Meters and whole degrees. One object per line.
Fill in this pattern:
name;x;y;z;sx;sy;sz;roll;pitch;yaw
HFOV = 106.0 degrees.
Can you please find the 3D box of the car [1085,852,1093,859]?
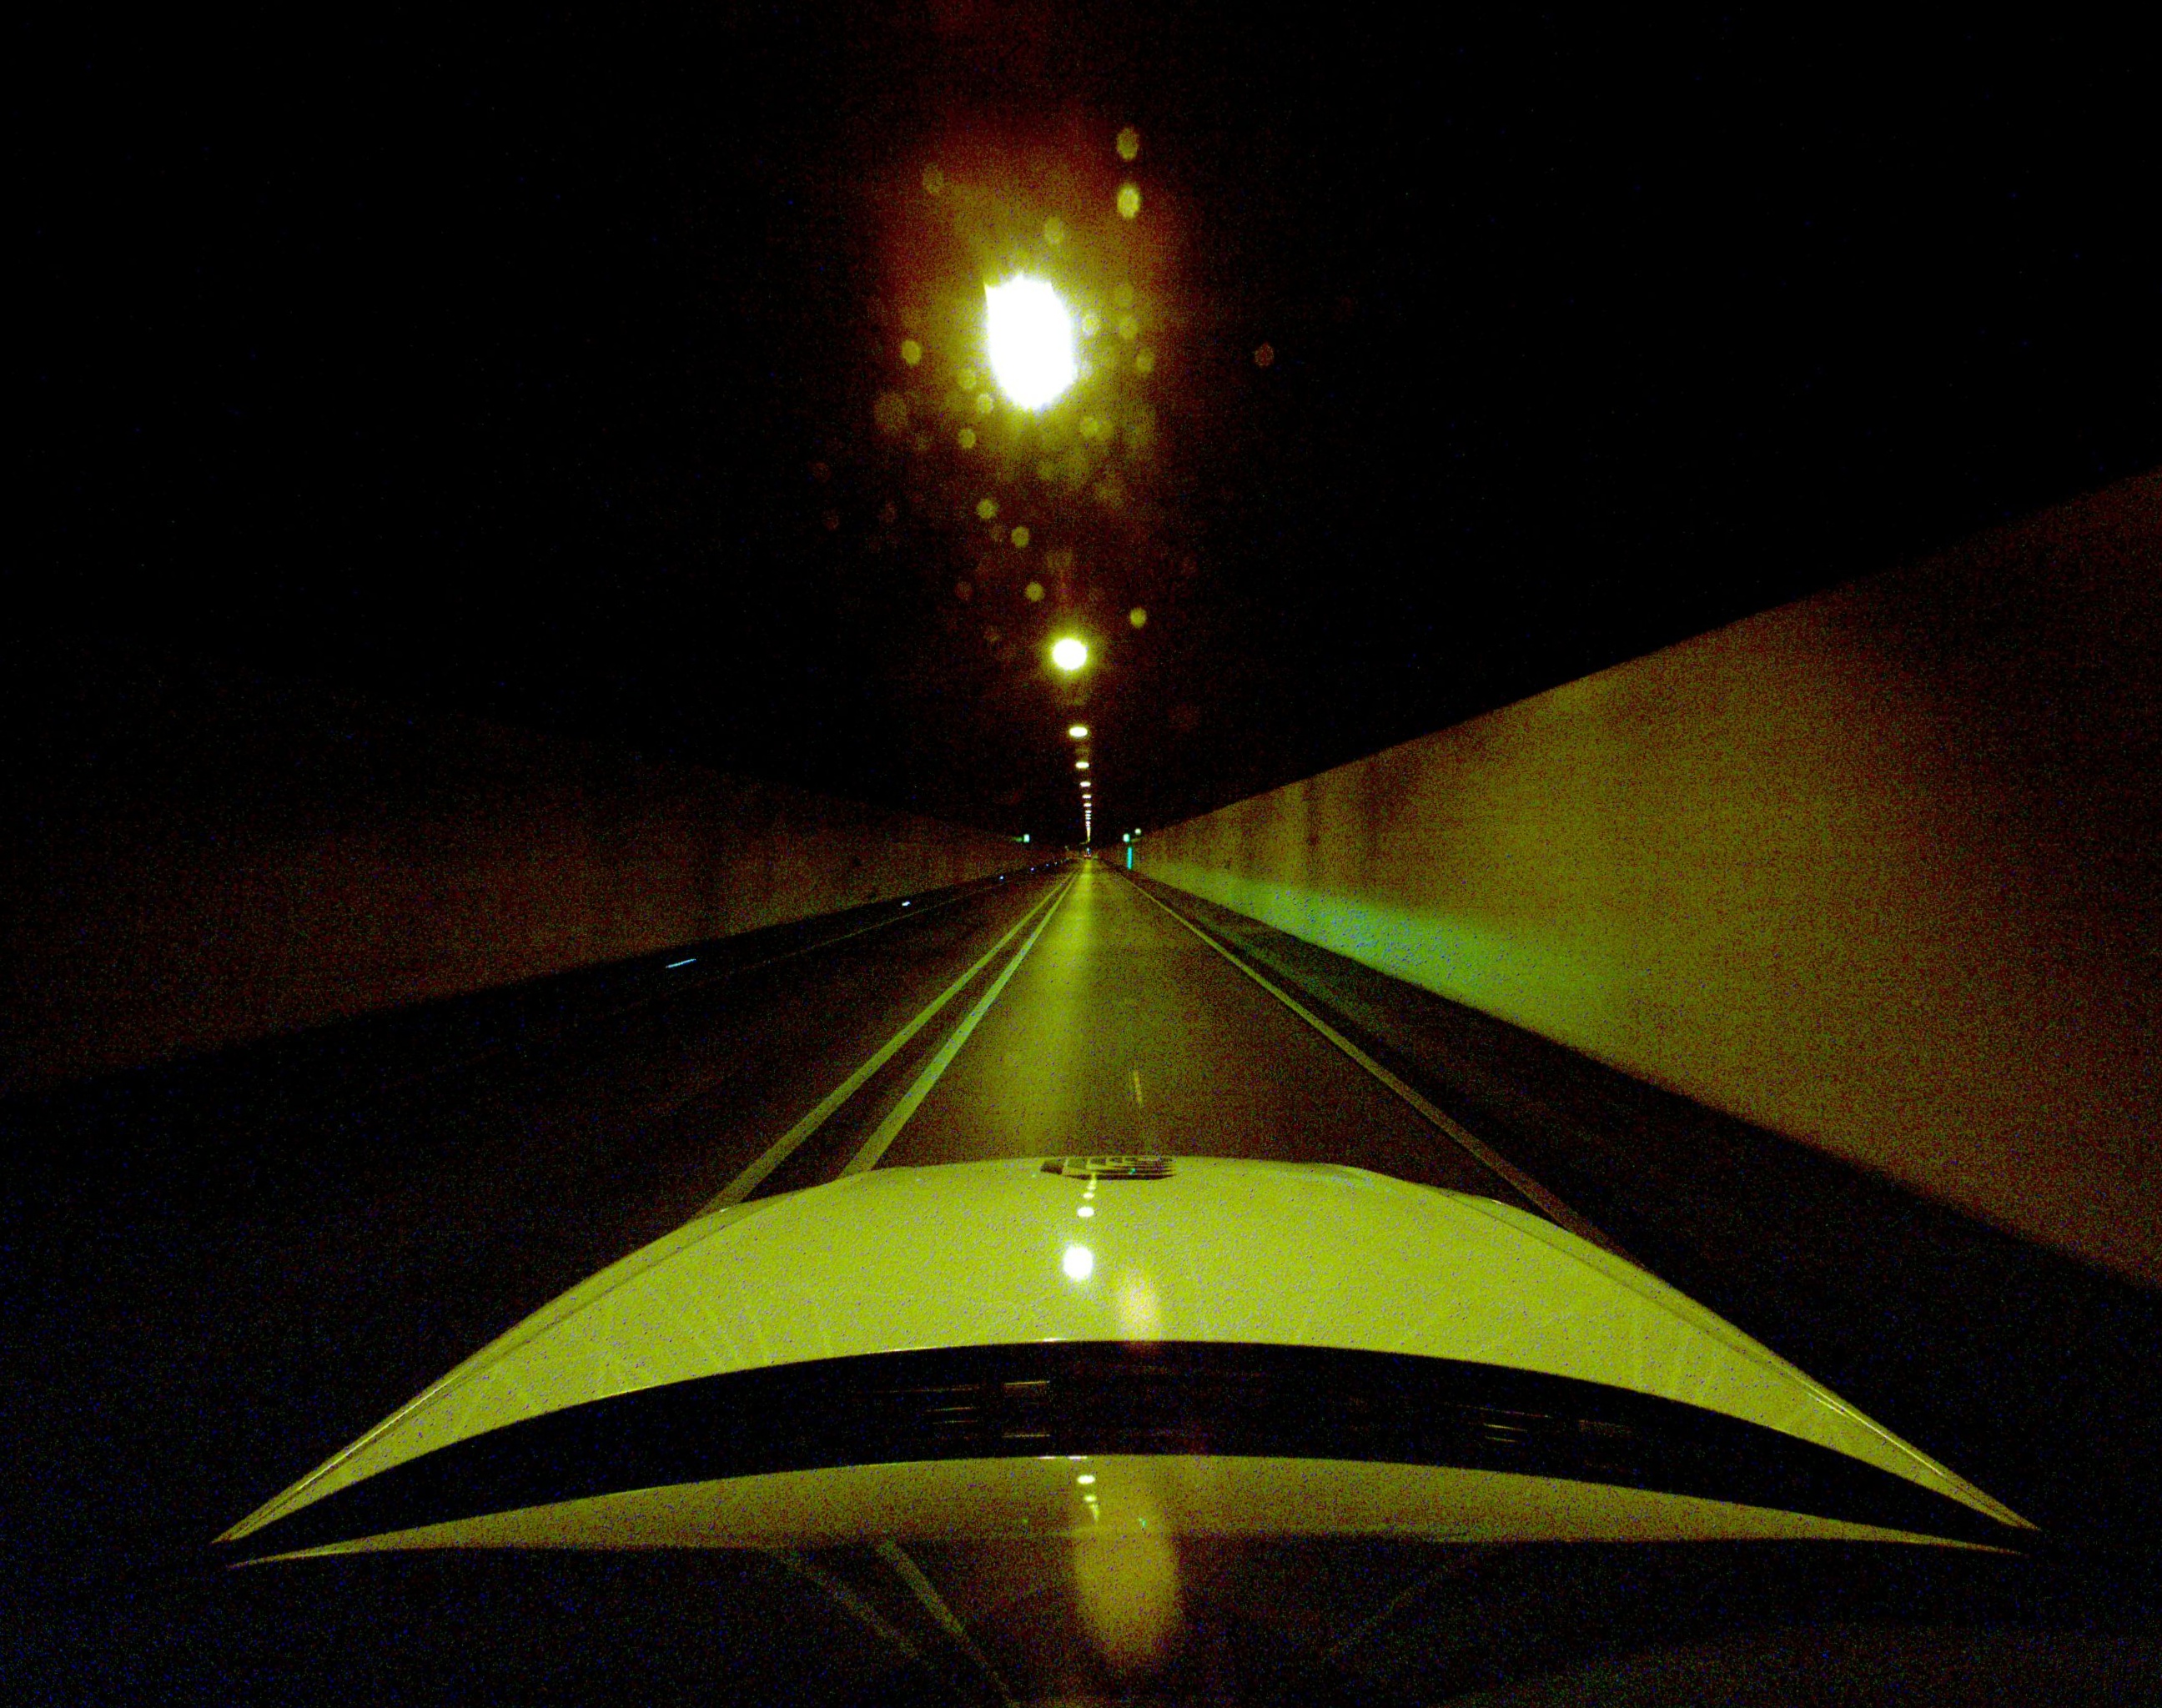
car;2.202;0.479;231.820;1.963;1.939;4.606;0;-1;-4
